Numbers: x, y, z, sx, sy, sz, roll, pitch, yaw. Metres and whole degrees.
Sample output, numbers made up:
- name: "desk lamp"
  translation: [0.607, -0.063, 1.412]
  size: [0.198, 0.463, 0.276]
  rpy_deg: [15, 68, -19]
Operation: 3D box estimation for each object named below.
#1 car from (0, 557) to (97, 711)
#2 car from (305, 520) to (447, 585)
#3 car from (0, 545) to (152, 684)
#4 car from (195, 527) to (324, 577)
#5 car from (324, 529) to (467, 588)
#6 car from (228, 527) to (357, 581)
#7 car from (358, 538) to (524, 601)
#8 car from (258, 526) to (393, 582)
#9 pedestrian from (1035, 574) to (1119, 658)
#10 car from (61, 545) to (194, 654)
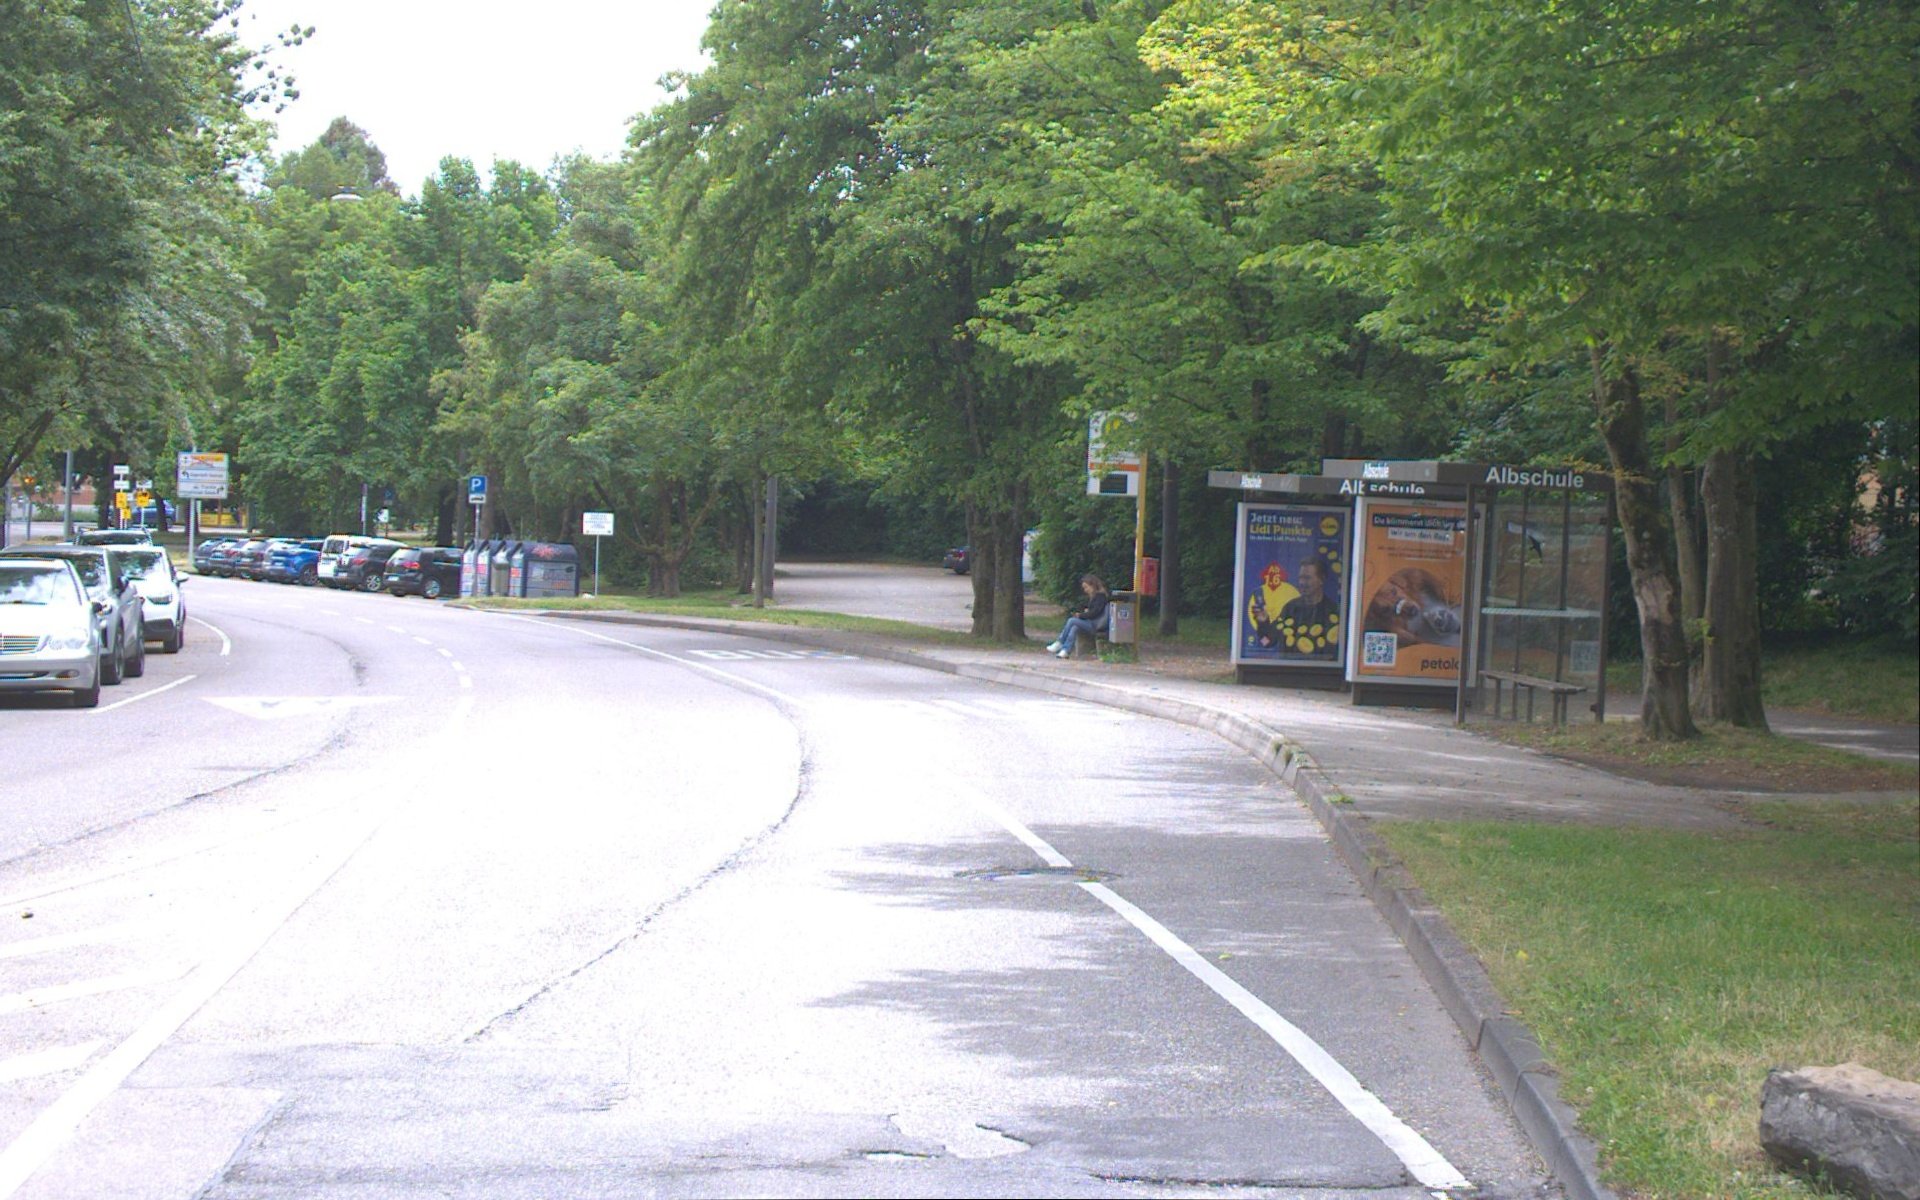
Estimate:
- name: "car"
  translation: [-9.461, 0.286, 34.107]
  size: [1.735, 1.411, 4.474]
  rpy_deg: [0, 1, -14]
- name: "car"
  translation: [-18.031, -1.467, 106.165]
  size: [3.820, 1.714, 1.877]
  rpy_deg: [4, -1, -41]
- name: "car"
  translation: [-10.531, 0.130, 40.195]
  size: [1.735, 1.533, 4.190]
  rpy_deg: [0, 1, -8]
- name: "car"
  translation: [-23.980, -1.644, 117.724]
  size: [3.874, 1.421, 1.829]
  rpy_deg: [4, -1, -41]
- name: "car"
  translation: [-16.993, -1.240, 103.618]
  size: [3.820, 1.463, 1.746]
  rpy_deg: [4, 0, -41]
- name: "car"
  translation: [-22.327, -1.542, 115.084]
  size: [3.820, 1.523, 1.746]
  rpy_deg: [4, -1, -41]
- name: "car"
  translation: [-14.458, -0.843, 95.865]
  size: [3.988, 1.409, 2.057]
  rpy_deg: [4, 1, -41]
- name: "car"
  translation: [-20.384, -1.482, 110.496]
  size: [3.820, 1.523, 1.746]
  rpy_deg: [4, -1, -41]
- name: "pedestrian"
  translation: [1.662, 0.227, 48.859]
  size: [1.063, 1.178, 0.580]
  rpy_deg: [1, 1, -13]
- name: "car"
  translation: [-12.432, -0.038, 51.514]
  size: [1.735, 1.573, 4.142]
  rpy_deg: [0, 1, -11]
